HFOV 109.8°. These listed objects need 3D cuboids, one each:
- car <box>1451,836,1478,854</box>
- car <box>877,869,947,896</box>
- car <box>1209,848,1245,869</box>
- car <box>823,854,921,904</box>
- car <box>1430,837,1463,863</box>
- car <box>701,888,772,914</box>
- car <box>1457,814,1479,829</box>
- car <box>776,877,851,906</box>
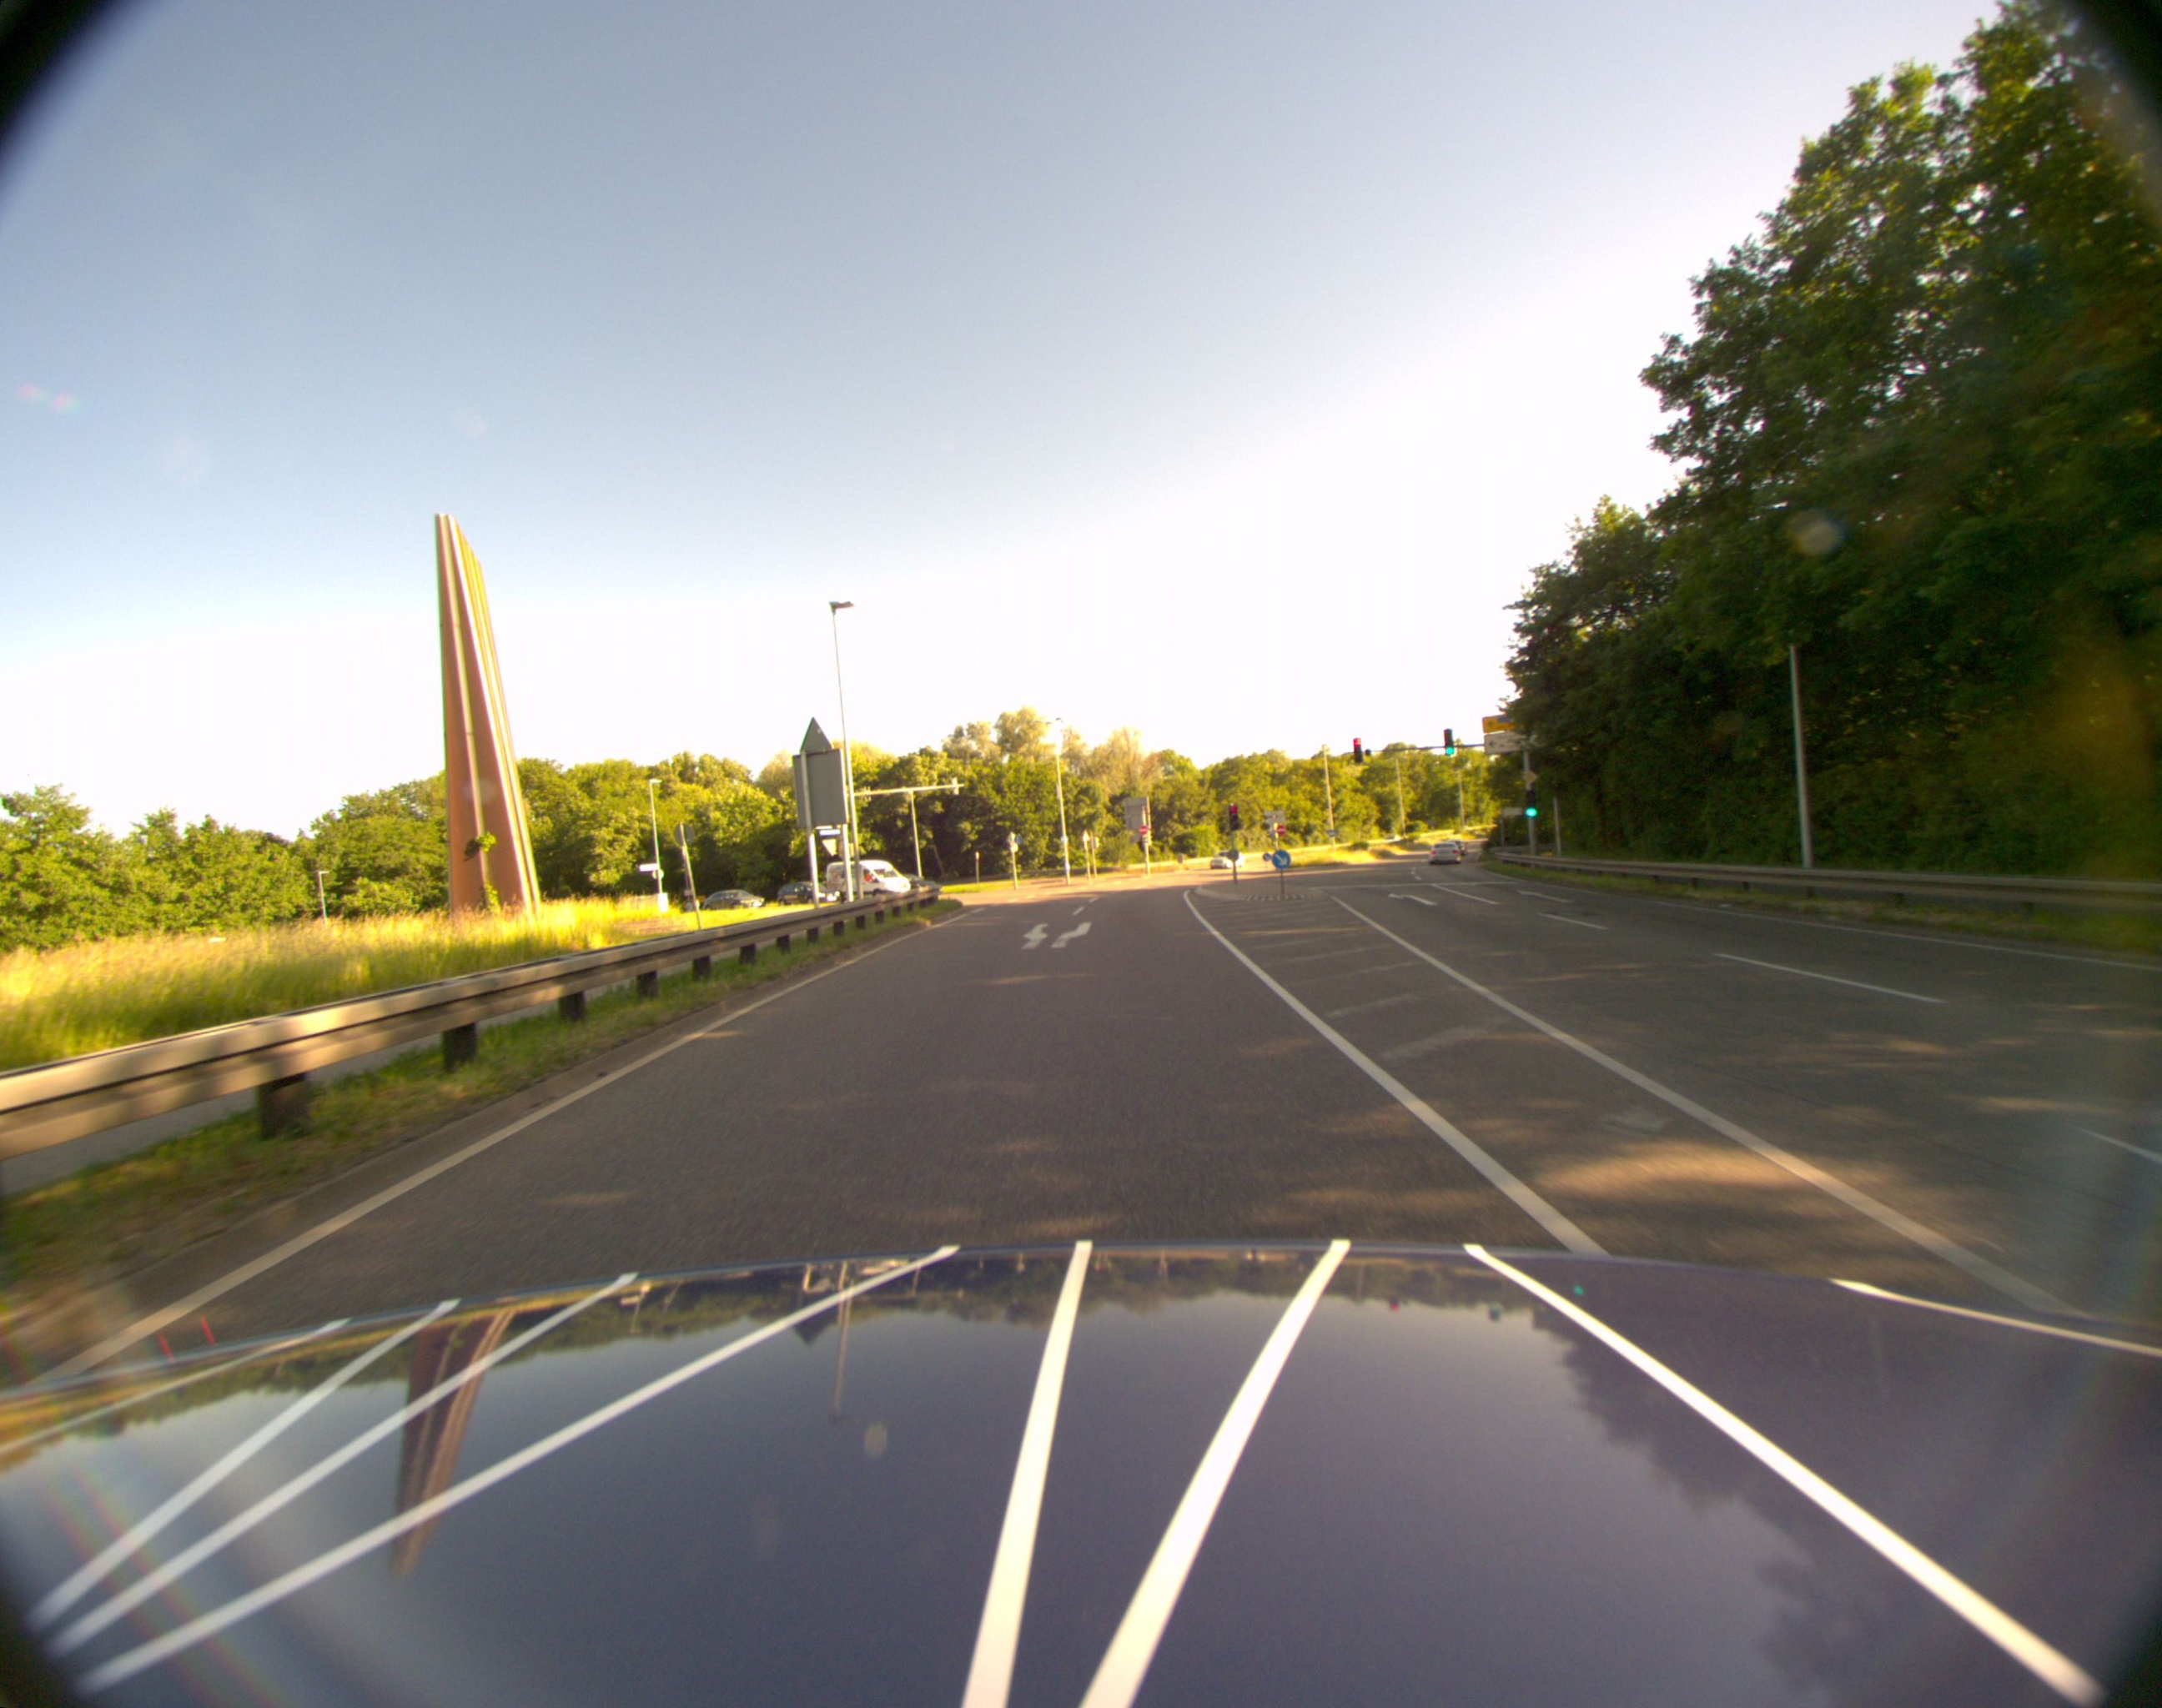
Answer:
[{"bbox_3d":[32.398,-0.794,64.159,1.702,1.382,4.535,-1,1,30],"label":"car"},{"bbox_3d":[-10.685,1.800,47.982,4.078,1.431,1.772,-3,1,30],"label":"car"},{"bbox_3d":[11.792,0.346,61.187,1.761,1.428,4.336,-3,0,25],"label":"car"},{"bbox_3d":[-12.412,1.473,44.934,5.692,2.484,2.118,-5,-1,32],"label":"car"},{"bbox_3d":[24.205,-0.306,50.300,1.849,1.479,4.636,-3,0,26],"label":"car"},{"bbox_3d":[-20.691,2.843,45.571,4.279,1.383,1.651,-3,1,31],"label":"car"},{"bbox_3d":[55.178,-4.605,108.312,1.995,2.002,4.007,-3,1,39],"label":"car"},{"bbox_3d":[-14.905,2.101,42.288,3.978,1.405,1.848,-3,1,33],"label":"car"}]
